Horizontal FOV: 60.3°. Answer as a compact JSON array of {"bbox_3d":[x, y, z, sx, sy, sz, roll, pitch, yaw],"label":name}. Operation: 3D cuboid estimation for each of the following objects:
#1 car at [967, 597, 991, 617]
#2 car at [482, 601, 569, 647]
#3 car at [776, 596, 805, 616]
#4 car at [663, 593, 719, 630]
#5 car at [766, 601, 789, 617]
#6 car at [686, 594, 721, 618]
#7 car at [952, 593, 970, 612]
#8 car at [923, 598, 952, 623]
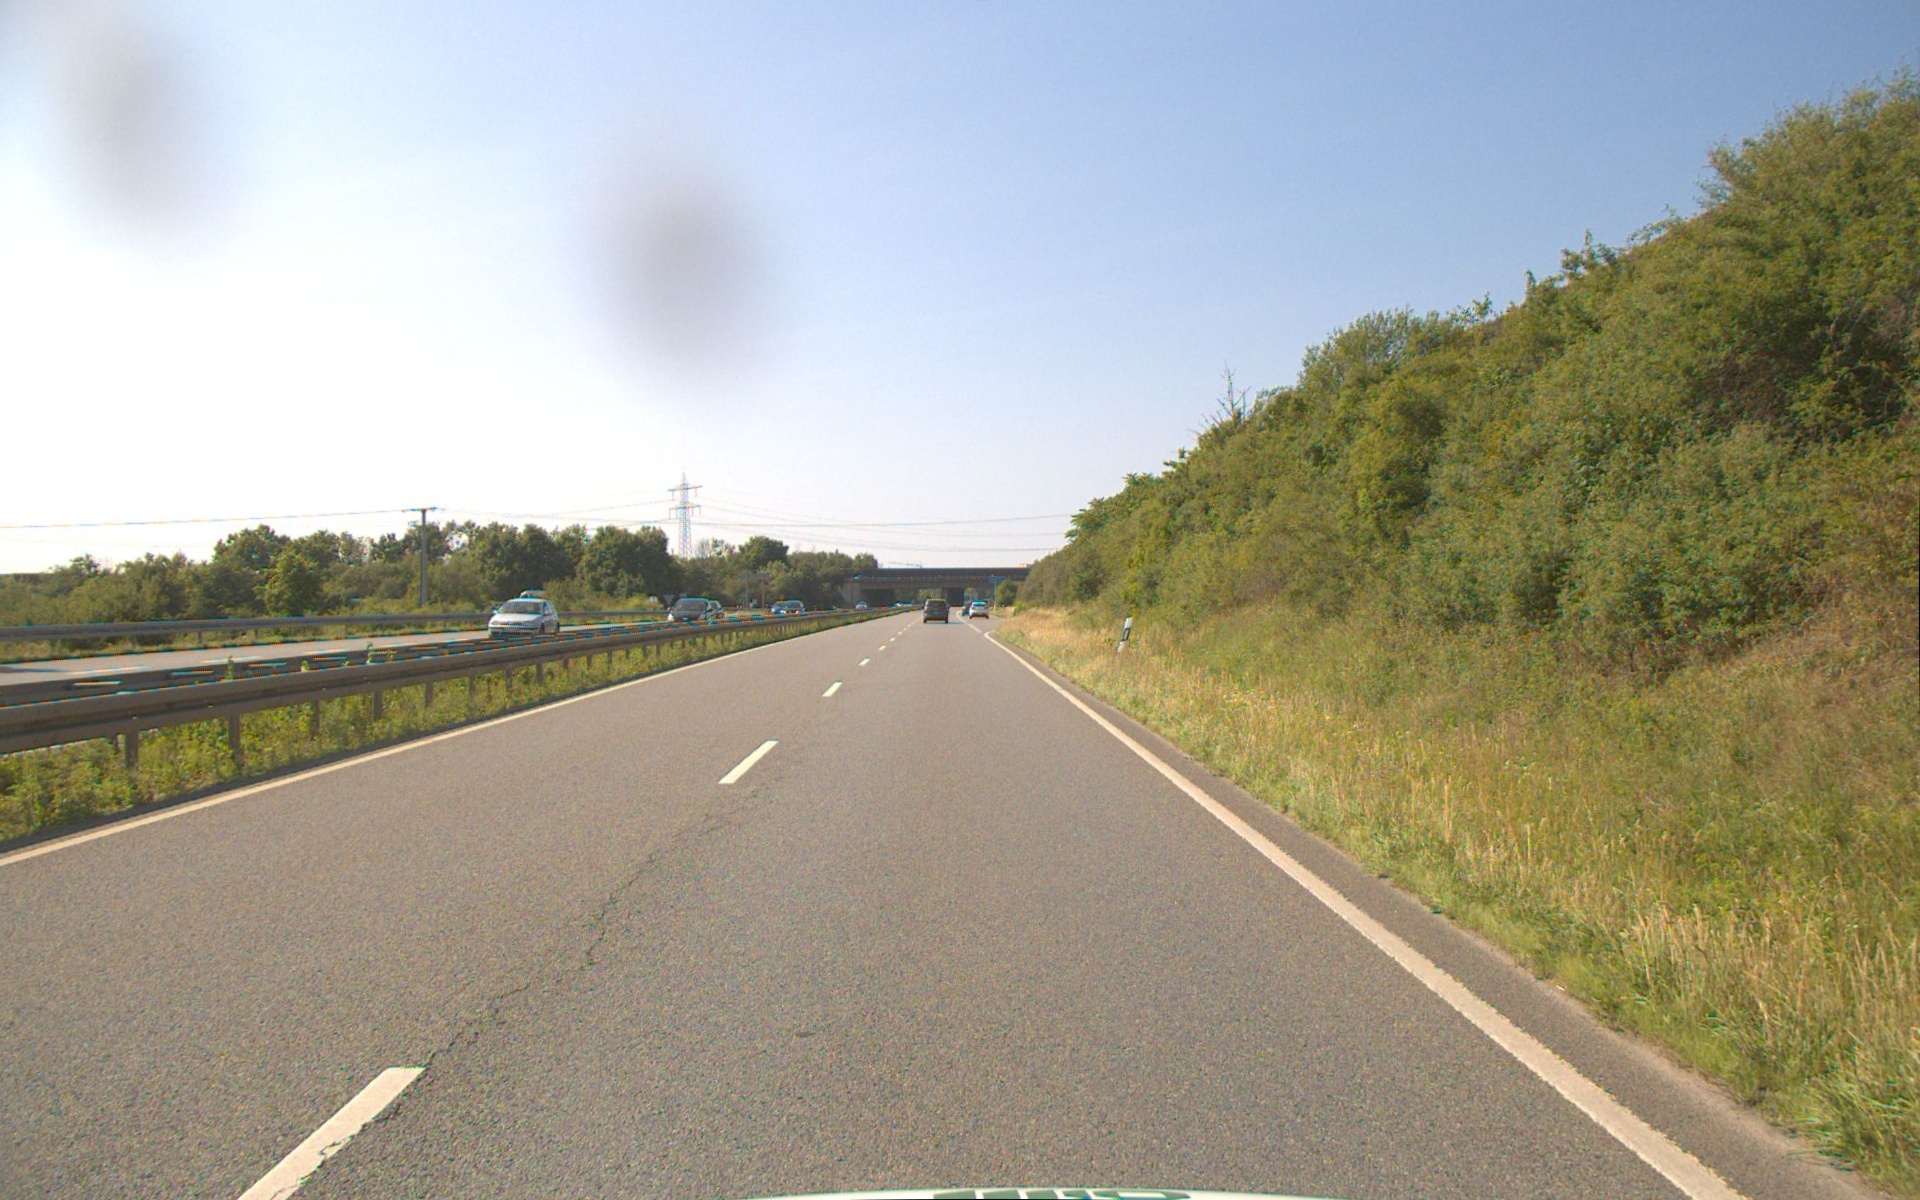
[{"bbox_3d":[1.744,0.628,148.860,1.758,1.694,4.003,1,1,5],"label":"car"},{"bbox_3d":[-14.621,0.772,55.828,1.784,1.420,4.415,1,0,-1],"label":"car"},{"bbox_3d":[-12.949,0.441,126.567,1.778,1.499,4.323,1,1,-1],"label":"car"},{"bbox_3d":[-11.441,0.471,70.488,1.678,1.496,4.415,1,0,-1],"label":"car"},{"bbox_3d":[-17.451,0.835,158.101,1.778,1.499,4.323,1,1,-1],"label":"car"},{"bbox_3d":[-16.325,0.377,105.381,1.678,1.475,4.321,-1,0,-2],"label":"car"},{"bbox_3d":[0.105,0.282,184.655,1.953,2.048,3.999,-3,0,-1],"label":"car"},{"bbox_3d":[-1.561,0.696,115.415,1.811,1.673,4.001,-1,0,2],"label":"car"}]
